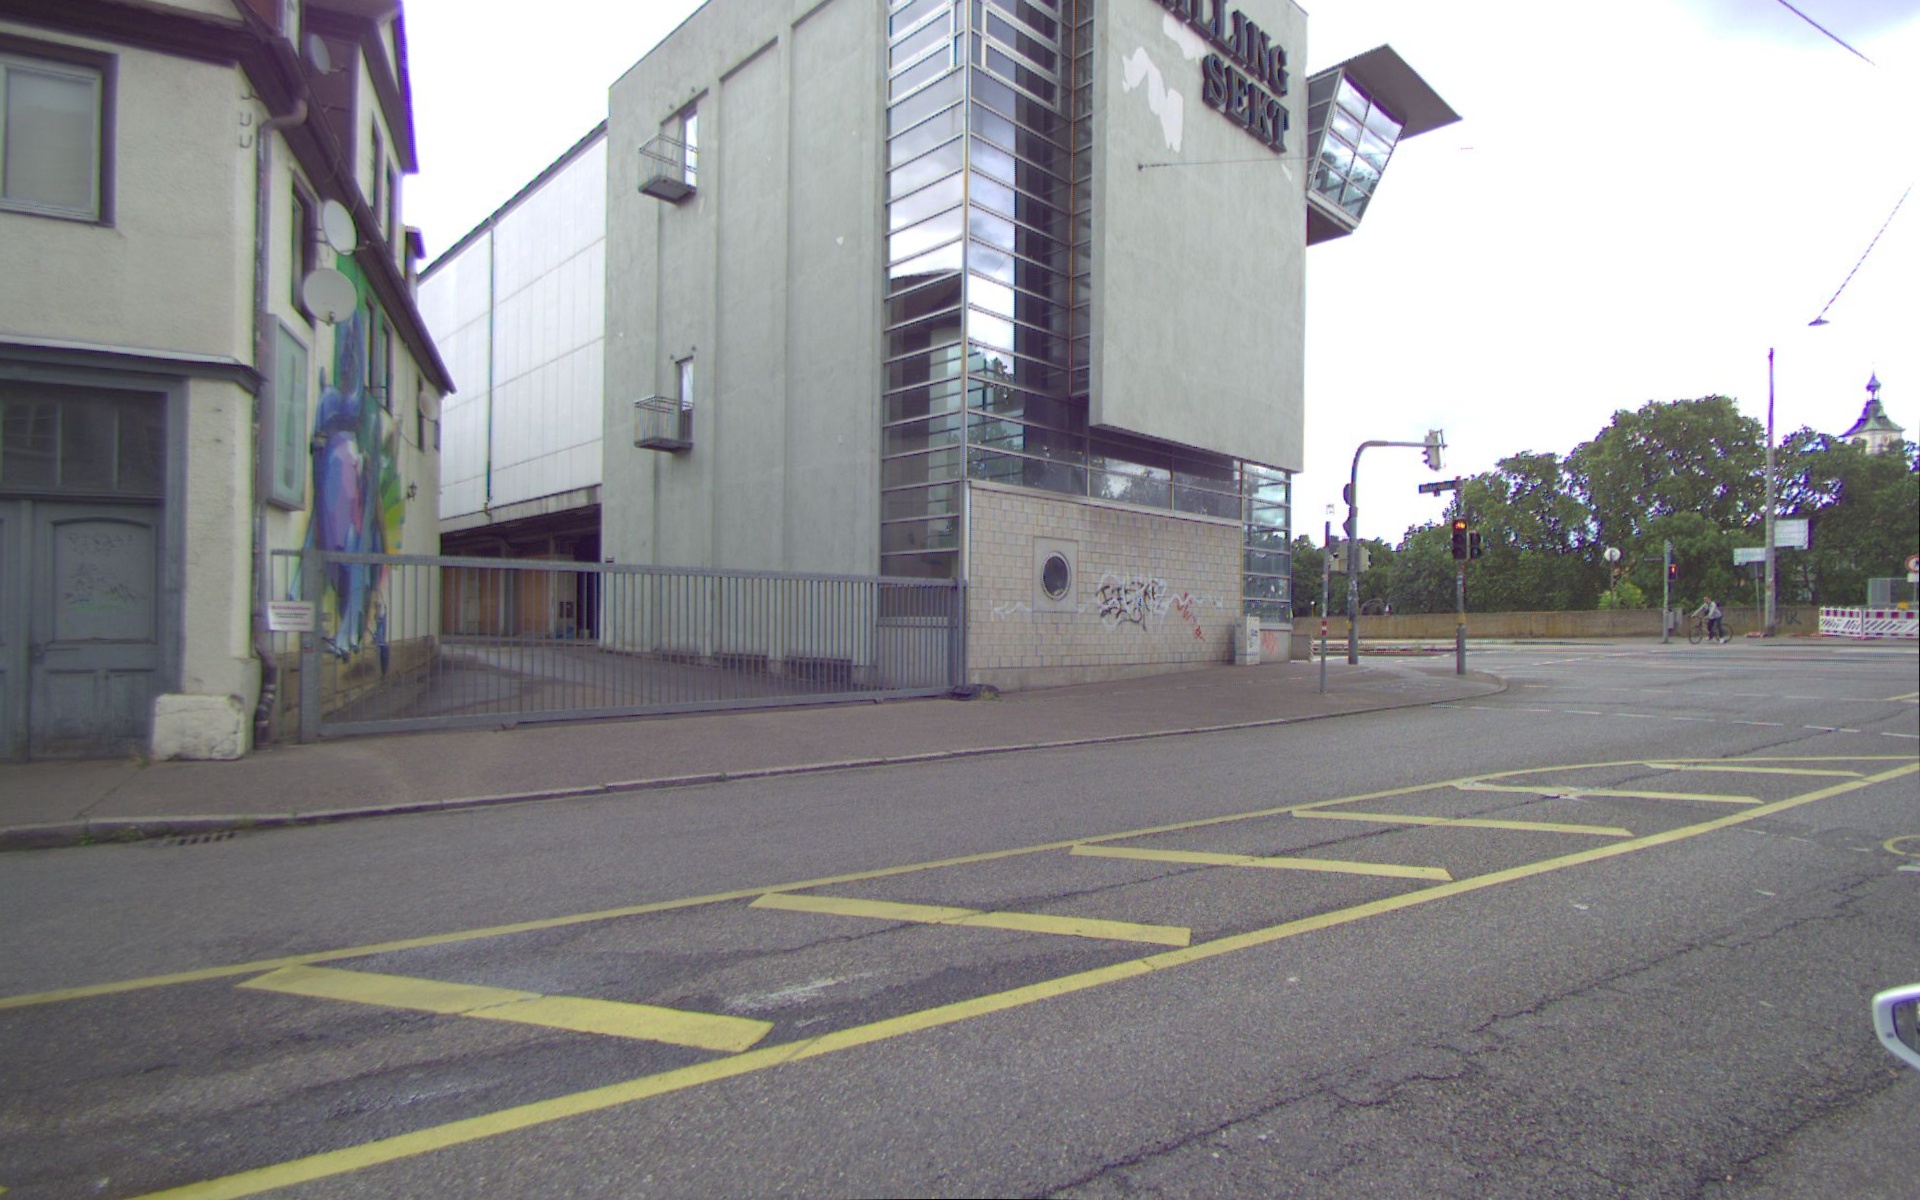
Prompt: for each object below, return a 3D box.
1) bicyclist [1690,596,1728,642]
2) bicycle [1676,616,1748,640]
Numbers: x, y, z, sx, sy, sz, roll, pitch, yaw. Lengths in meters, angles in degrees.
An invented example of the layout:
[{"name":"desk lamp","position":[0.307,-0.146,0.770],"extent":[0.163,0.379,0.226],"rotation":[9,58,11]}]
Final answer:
[{"name":"bicyclist","position":[28.838,0.715,38.687],"extent":[0.985,1.767,0.755],"rotation":[0,1,19]},{"name":"bicycle","position":[28.917,1.086,38.665],"extent":[2.096,0.904,0.760],"rotation":[-1,0,20]}]
